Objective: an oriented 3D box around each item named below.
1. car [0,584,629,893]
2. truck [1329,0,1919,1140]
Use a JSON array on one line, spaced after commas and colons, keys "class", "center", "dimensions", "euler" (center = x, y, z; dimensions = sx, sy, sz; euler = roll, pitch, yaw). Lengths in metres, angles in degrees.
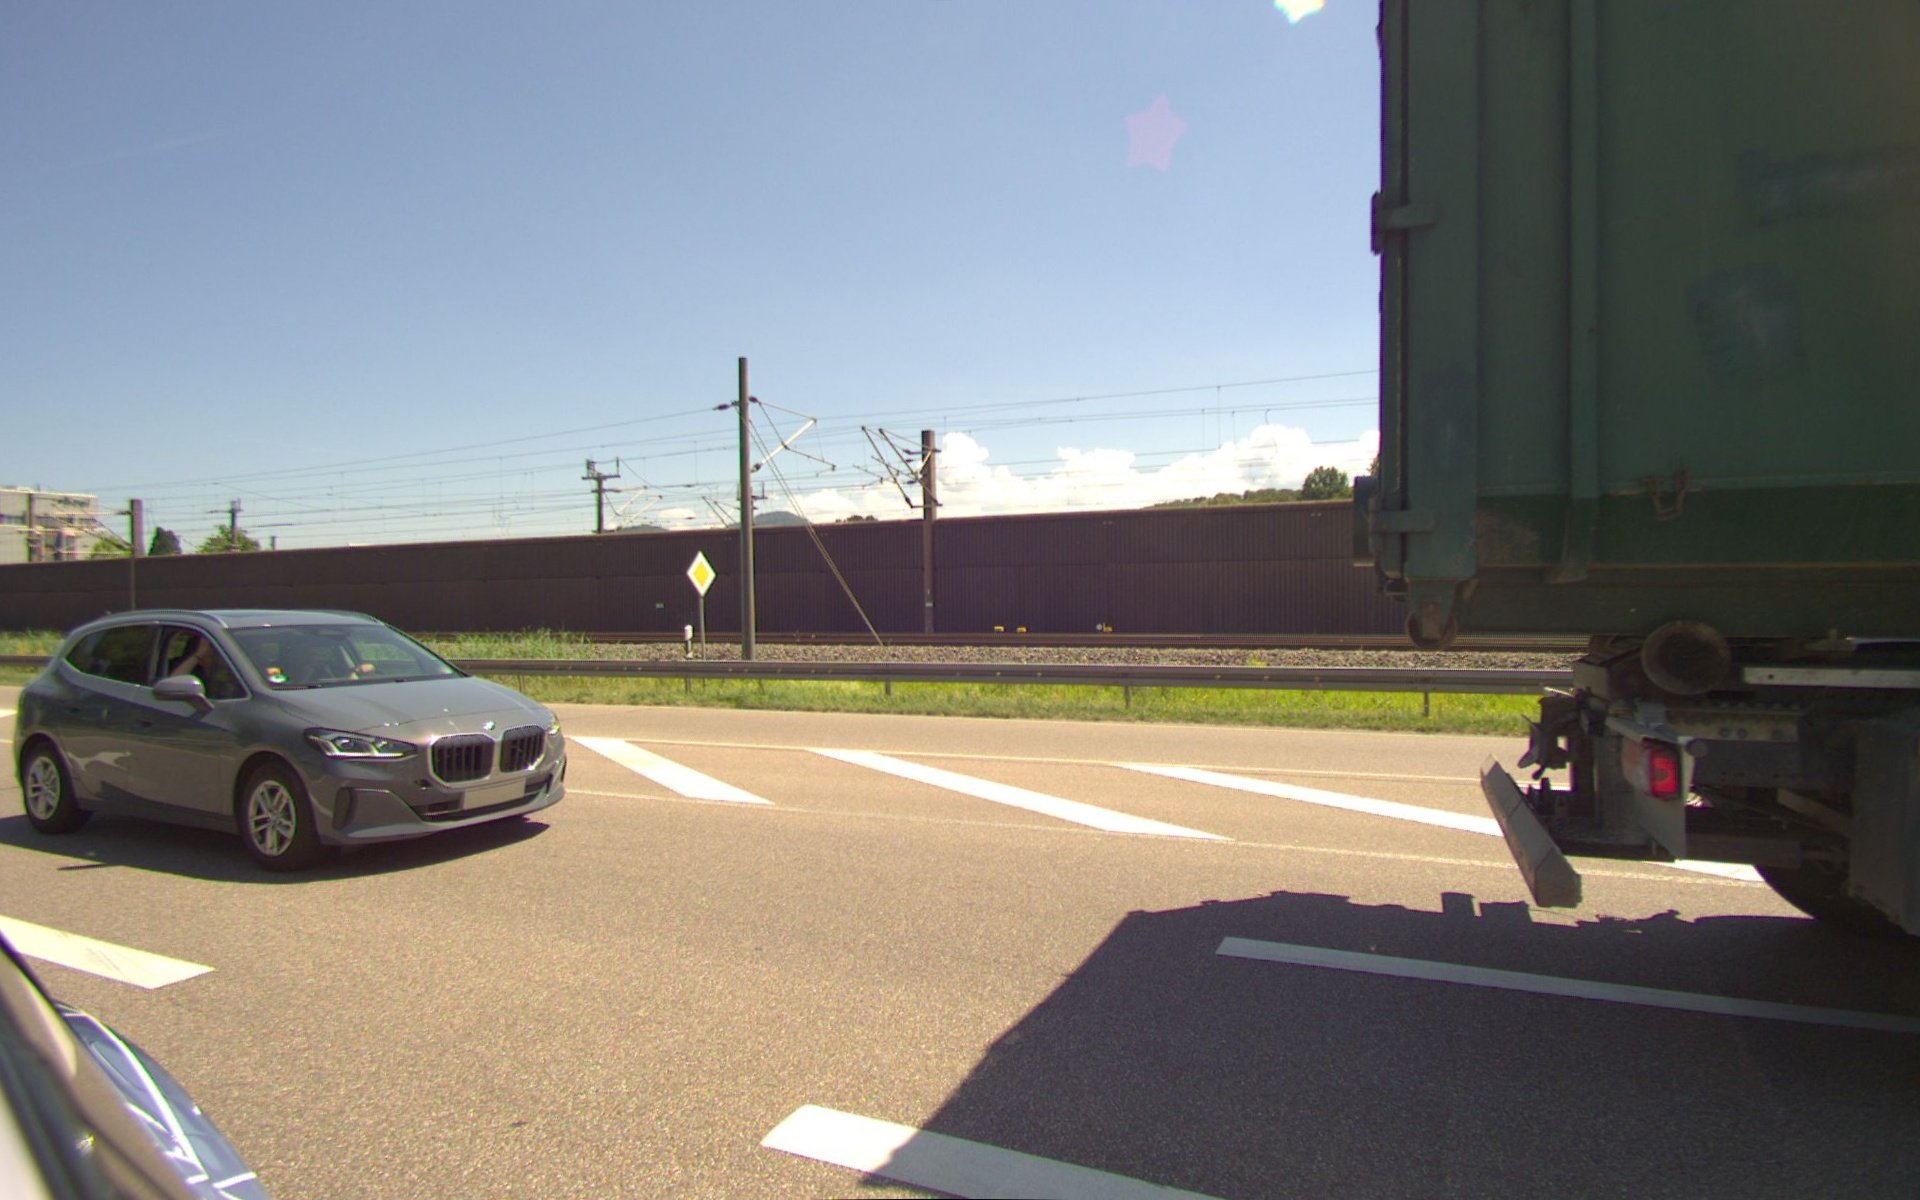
[{"class": "car", "center": [-4.583, 0.776, 7.106], "dimensions": [4.201, 1.635, 1.835], "euler": [-1, -1, 25]}, {"class": "truck", "center": [6.023, -0.584, 2.318], "dimensions": [9.519, 3.766, 2.576], "euler": [-2, -1, 25]}]
